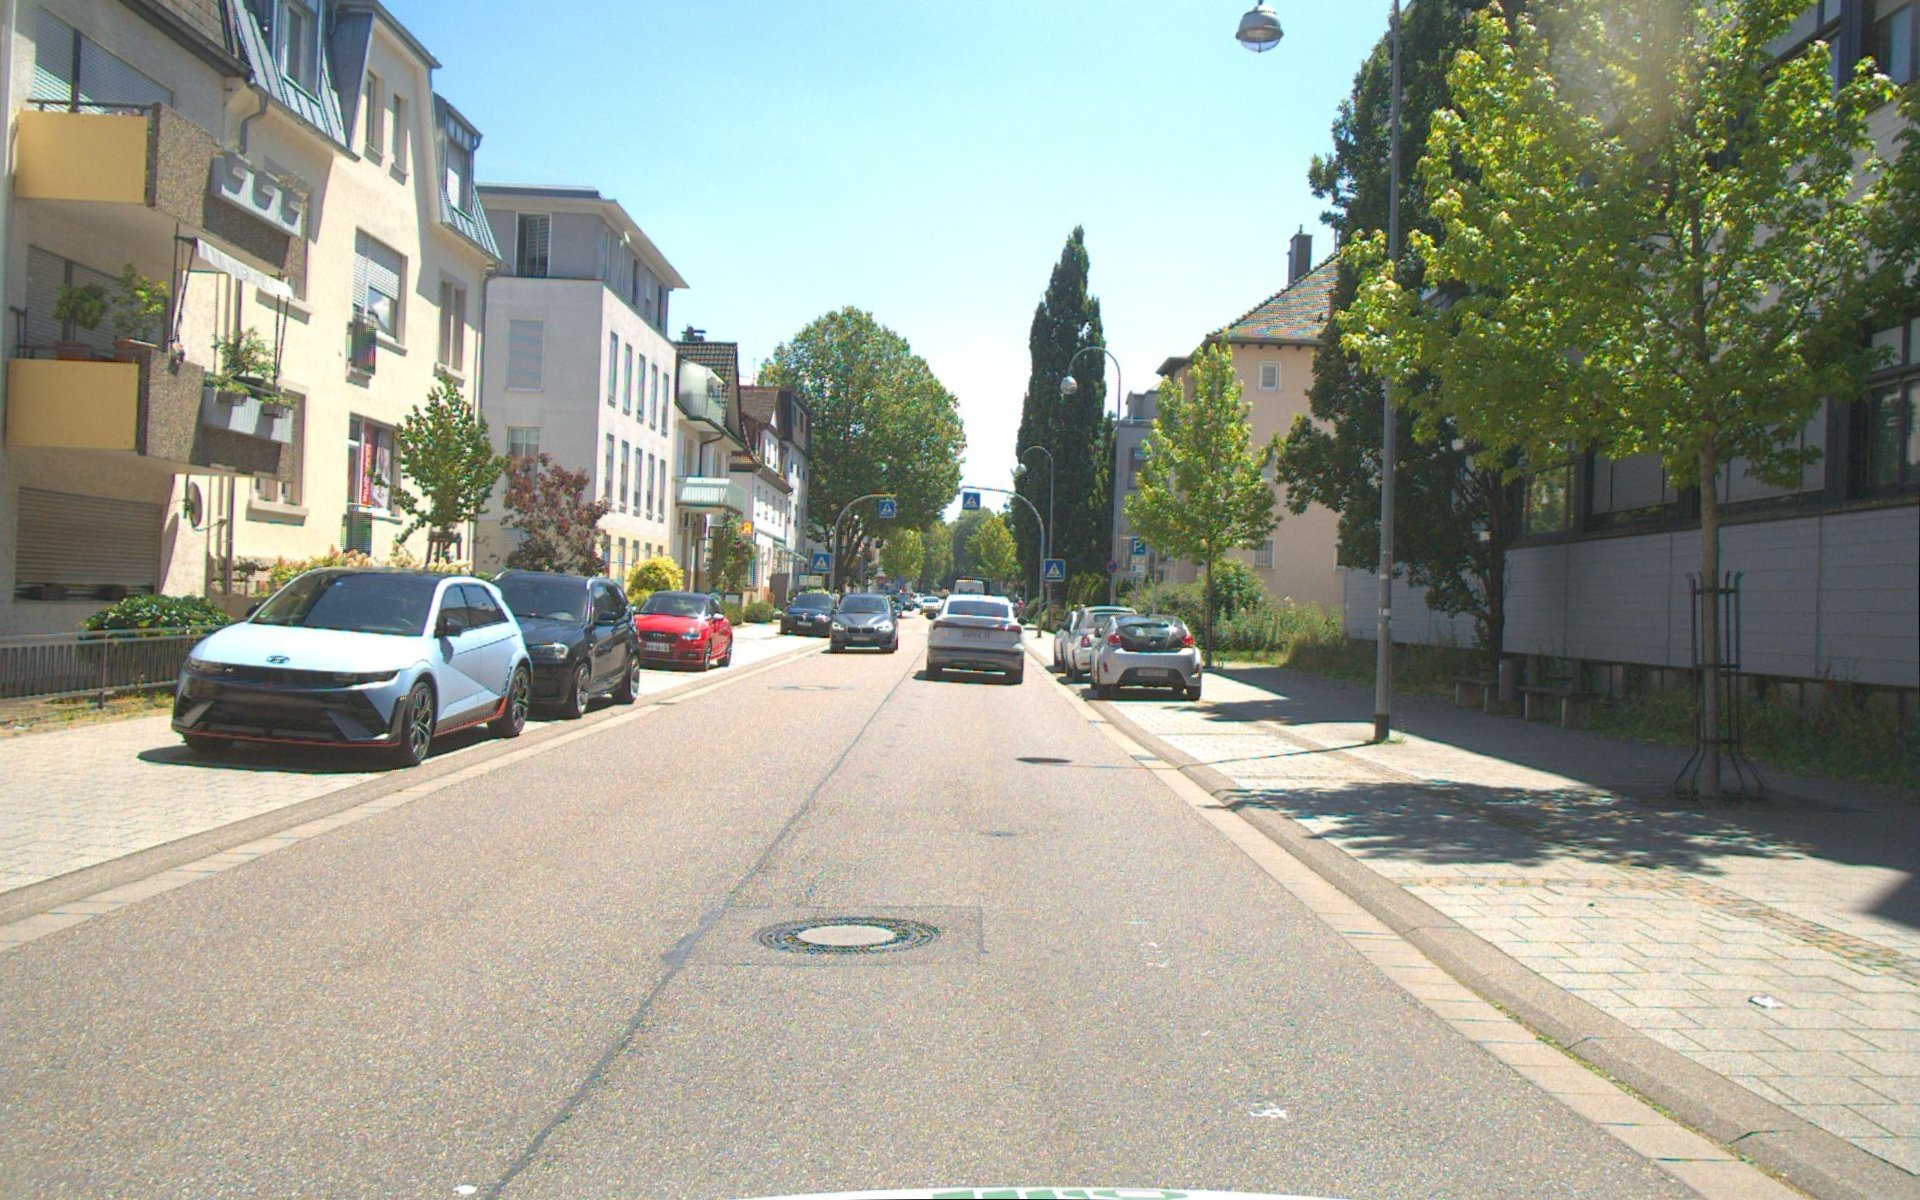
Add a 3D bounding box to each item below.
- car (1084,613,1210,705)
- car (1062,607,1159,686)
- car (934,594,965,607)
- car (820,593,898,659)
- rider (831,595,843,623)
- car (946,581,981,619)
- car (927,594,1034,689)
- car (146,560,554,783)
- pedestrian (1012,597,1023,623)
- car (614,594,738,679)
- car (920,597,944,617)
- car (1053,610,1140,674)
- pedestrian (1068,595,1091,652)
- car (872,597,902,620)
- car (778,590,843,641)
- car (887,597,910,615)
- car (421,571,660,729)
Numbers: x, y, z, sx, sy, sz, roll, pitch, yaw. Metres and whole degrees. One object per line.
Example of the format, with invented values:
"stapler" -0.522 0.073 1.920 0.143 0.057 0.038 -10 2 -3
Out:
"car" 3.243 0.991 29.367 1.824 1.397 4.001 2 0 1
"car" 3.126 0.937 35.092 1.625 1.514 4.345 0 0 -1
"car" -1.364 0.085 217.710 3.902 1.680 2.002 1 0 7
"car" -2.738 0.690 45.894 1.934 1.700 4.471 1 0 -1
"rider" -7.216 0.519 97.170 0.648 1.580 0.661 1 0 0
"car" 0.190 -0.013 102.322 2.028 2.235 5.136 0 0 -2
"car" 0.406 0.771 33.288 1.897 1.642 4.472 4 0 0
"car" -5.325 0.548 15.207 1.886 1.600 4.659 4 0 0
"pedestrian" 4.012 0.673 114.778 0.680 1.767 0.667 1 0 -5
"car" -5.479 0.662 32.346 1.616 1.443 3.906 4 0 1
"car" -2.336 0.563 137.134 1.938 1.546 3.999 1 0 -1
"car" 3.229 0.963 39.847 1.690 1.407 4.401 0 0 -1
"pedestrian" 3.803 0.732 52.539 0.625 1.789 0.616 1 0 -5
"car" -5.173 0.605 117.251 1.953 1.546 3.999 1 0 -1
"car" -5.336 0.527 59.499 1.886 1.750 4.472 1 0 0
"car" -5.609 0.572 151.834 1.953 1.546 3.999 1 0 -1
"car" -5.133 0.548 20.884 1.690 1.647 4.571 4 0 0
